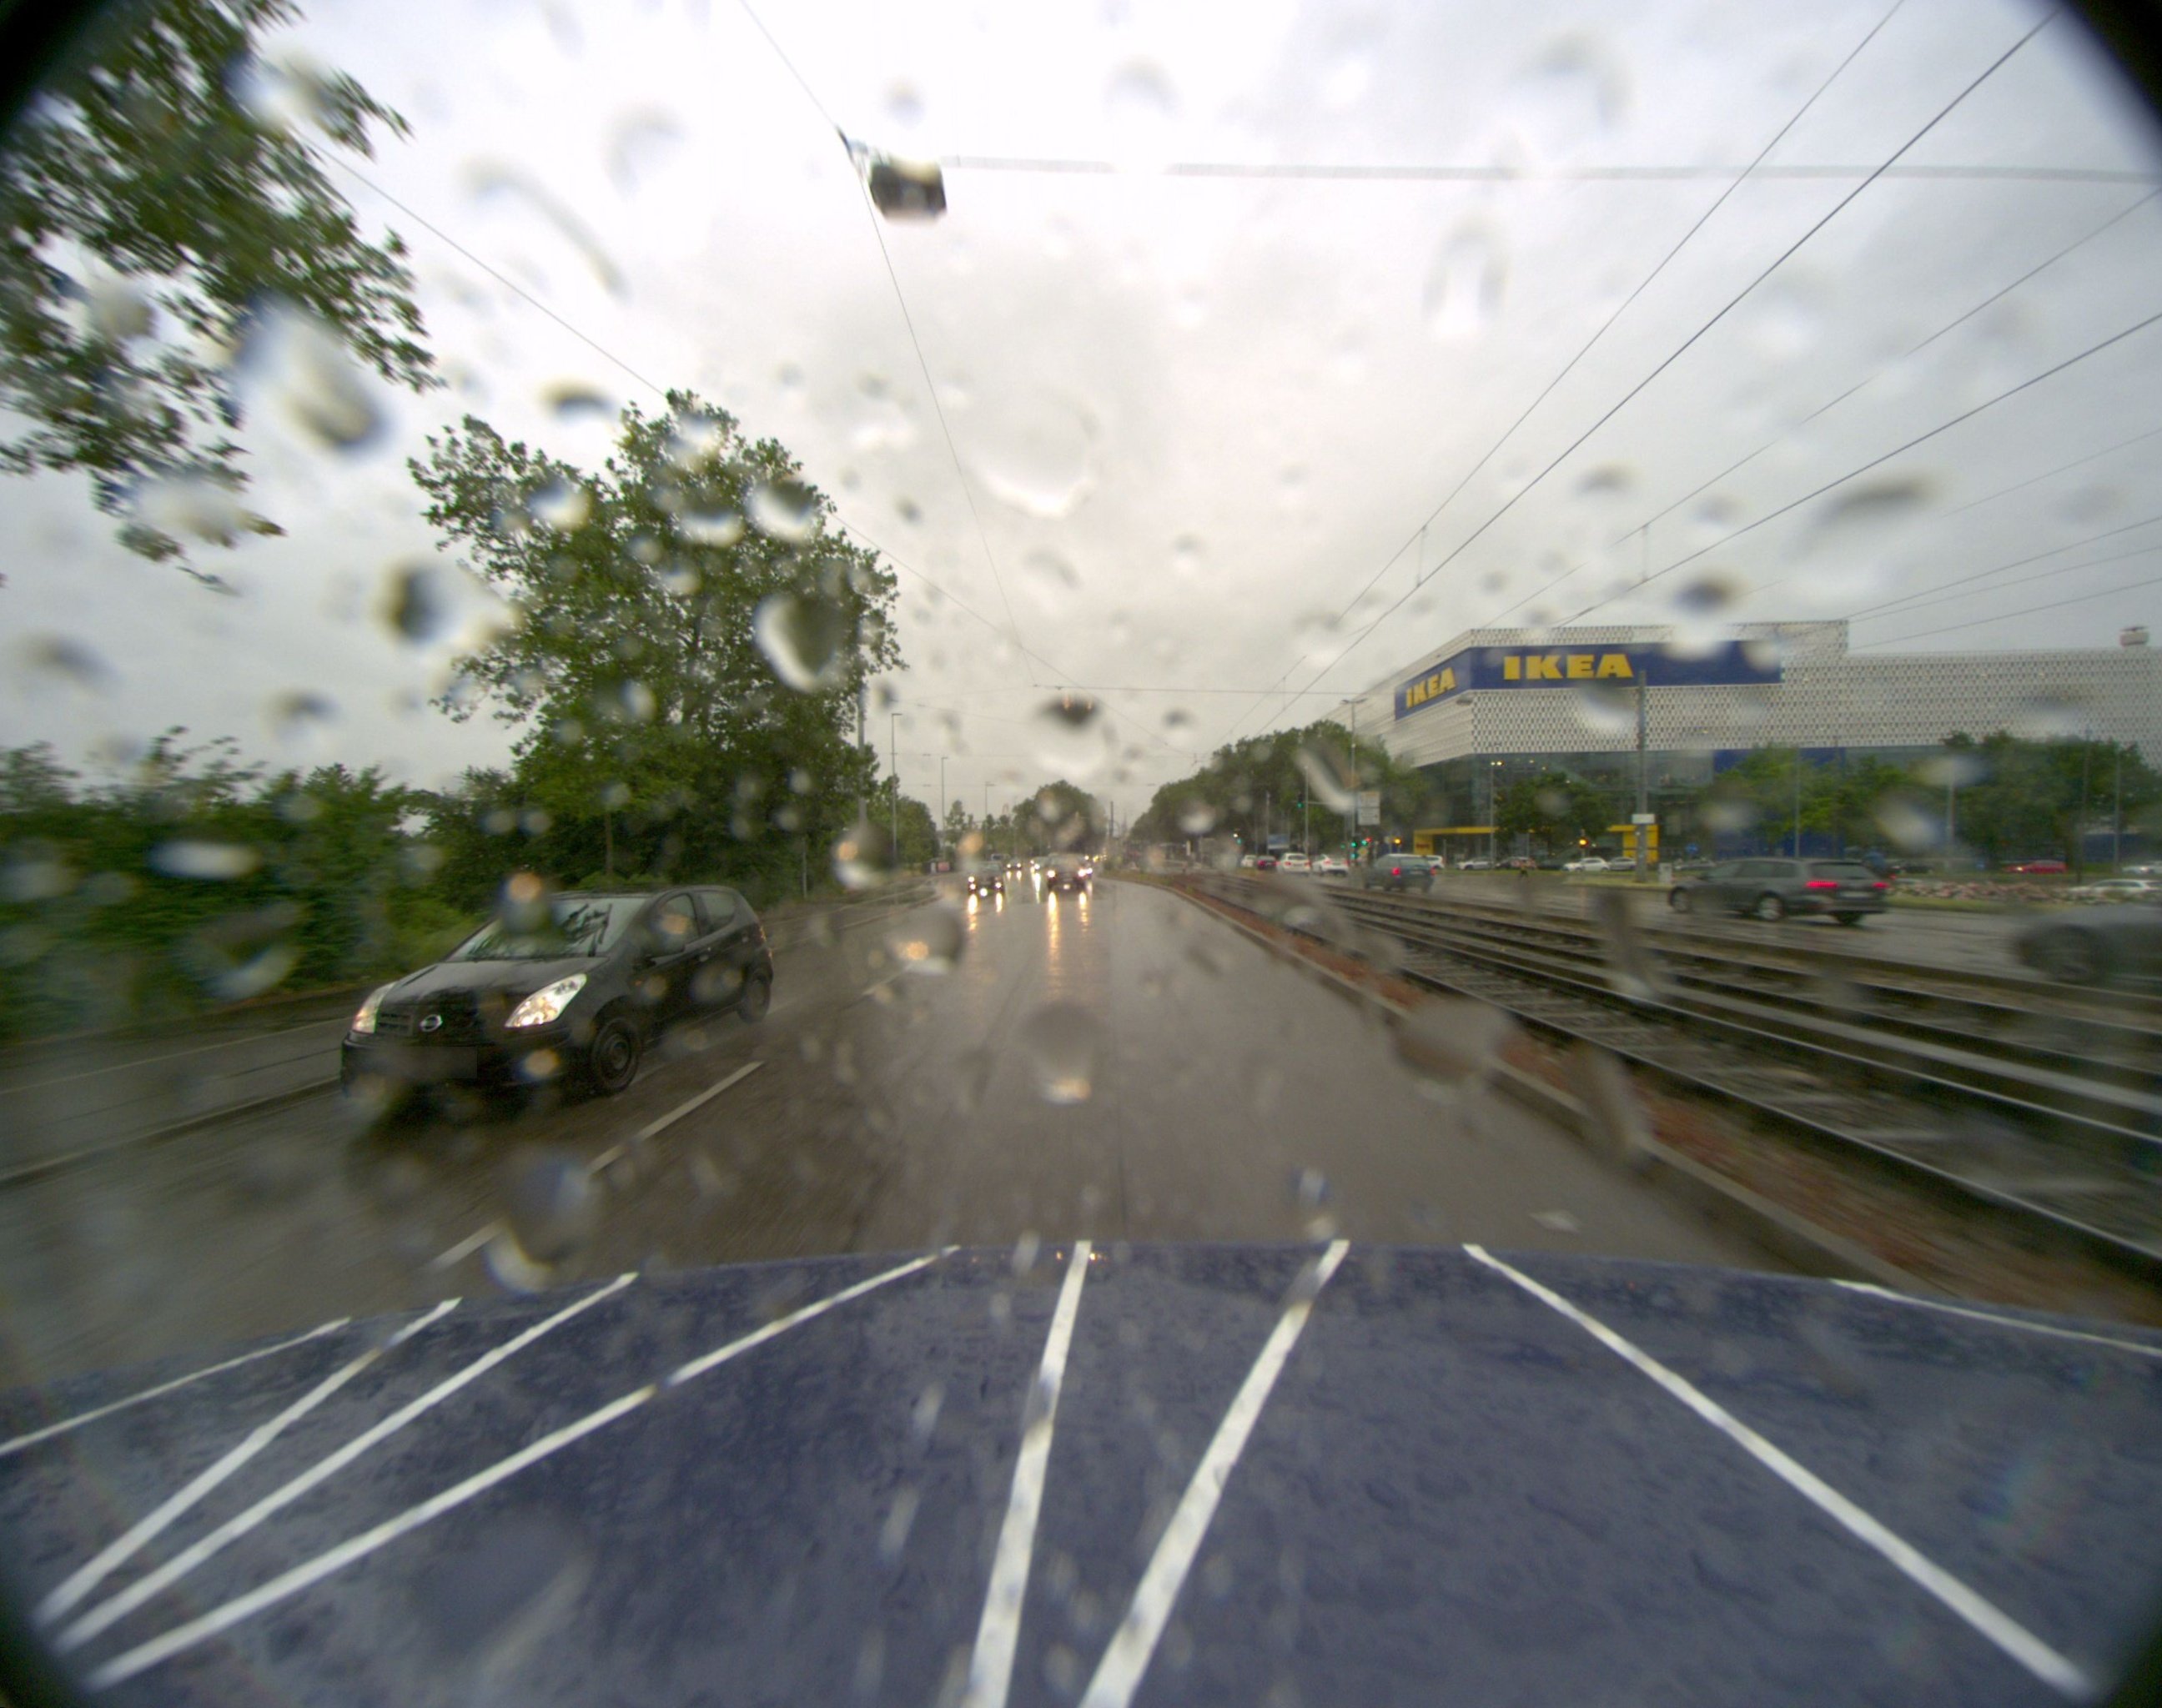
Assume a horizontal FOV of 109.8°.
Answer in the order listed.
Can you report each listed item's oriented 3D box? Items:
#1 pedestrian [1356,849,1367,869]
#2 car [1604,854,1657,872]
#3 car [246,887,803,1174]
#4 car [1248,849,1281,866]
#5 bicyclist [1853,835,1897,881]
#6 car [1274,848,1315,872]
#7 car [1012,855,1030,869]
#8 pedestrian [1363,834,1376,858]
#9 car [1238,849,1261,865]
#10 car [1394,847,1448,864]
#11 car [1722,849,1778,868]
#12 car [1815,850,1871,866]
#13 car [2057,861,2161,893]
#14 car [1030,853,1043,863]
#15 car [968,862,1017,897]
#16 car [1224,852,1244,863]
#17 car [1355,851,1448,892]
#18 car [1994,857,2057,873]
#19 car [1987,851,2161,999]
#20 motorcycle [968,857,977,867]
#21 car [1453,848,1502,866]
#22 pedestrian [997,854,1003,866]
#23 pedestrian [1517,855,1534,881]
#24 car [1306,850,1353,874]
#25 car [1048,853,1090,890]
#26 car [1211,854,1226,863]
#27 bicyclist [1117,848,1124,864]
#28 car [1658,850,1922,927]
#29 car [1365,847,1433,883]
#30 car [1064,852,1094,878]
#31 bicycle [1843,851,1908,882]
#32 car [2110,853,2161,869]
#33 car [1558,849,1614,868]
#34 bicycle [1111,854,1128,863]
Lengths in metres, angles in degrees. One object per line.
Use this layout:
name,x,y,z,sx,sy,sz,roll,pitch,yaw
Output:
pedestrian,29.379,0.493,79.606,0.784,2.002,0.858,-2,2,9
car,55.802,0.888,77.144,4.014,1.609,1.760,-3,1,4
car,-3.996,1.115,6.497,1.776,1.453,4.092,-3,0,-2
car,16.320,0.328,67.694,1.927,1.415,5.085,2,0,3
bicyclist,28.011,0.141,26.814,0.673,1.580,0.792,-3,1,2
car,15.040,0.418,53.770,1.877,1.564,4.329,-3,0,4
car,-7.332,0.983,93.555,1.715,1.515,4.178,-3,0,2
pedestrian,27.697,-0.748,72.933,0.920,2.232,0.990,-3,3,16
car,17.664,0.328,79.711,1.716,1.526,4.049,-3,0,4
car,33.742,0.142,75.465,4.459,1.532,1.820,-2,0,4
car,67.403,0.479,76.541,4.010,1.664,1.682,-3,1,5
car,75.893,0.403,75.687,3.821,1.399,1.602,-3,1,5
car,59.667,1.278,43.714,1.804,1.595,3.999,-3,1,-1
car,-7.056,0.645,120.943,1.715,1.515,4.178,-3,0,2
car,-4.207,1.175,36.623,1.715,1.476,4.044,-3,0,2
car,18.581,0.467,92.189,1.716,1.242,4.463,-3,-1,3
car,13.072,0.665,31.368,1.998,1.448,4.671,1,1,2
car,93.398,1.069,75.174,3.982,1.399,1.602,-3,1,5
car,11.898,0.749,6.878,1.862,1.485,4.689,0,1,2
motorcycle,-12.935,0.977,90.538,0.633,1.211,1.449,0,0,13
car,40.882,0.277,78.385,4.014,1.609,1.760,-3,1,4
pedestrian,-10.721,0.808,100.399,0.734,1.602,0.618,0,2,2
pedestrian,31.838,1.030,54.438,0.715,1.808,0.768,-3,2,-5
car,18.496,0.549,56.728,1.912,1.597,4.842,-4,0,1
car,-0.528,0.825,37.026,1.876,1.573,4.043,-3,0,1
car,20.144,0.625,111.598,1.716,1.242,4.049,-3,-1,4
bicyclist,4.416,0.209,85.542,0.618,1.721,0.793,-3,0,0
car,16.108,0.685,17.692,1.968,1.508,4.554,1,1,2
car,17.598,0.571,42.305,1.998,1.823,4.693,-1,1,3
car,-0.088,0.716,49.092,1.715,1.515,4.044,-3,0,2
bicycle,28.030,0.434,26.825,0.670,1.010,1.556,-3,1,2
car,104.669,0.688,74.802,4.162,1.399,1.710,-3,1,5
car,49.372,0.461,74.326,4.106,1.594,2.000,-3,1,3
bicycle,4.318,0.507,85.610,1.870,1.002,0.670,-3,0,0
